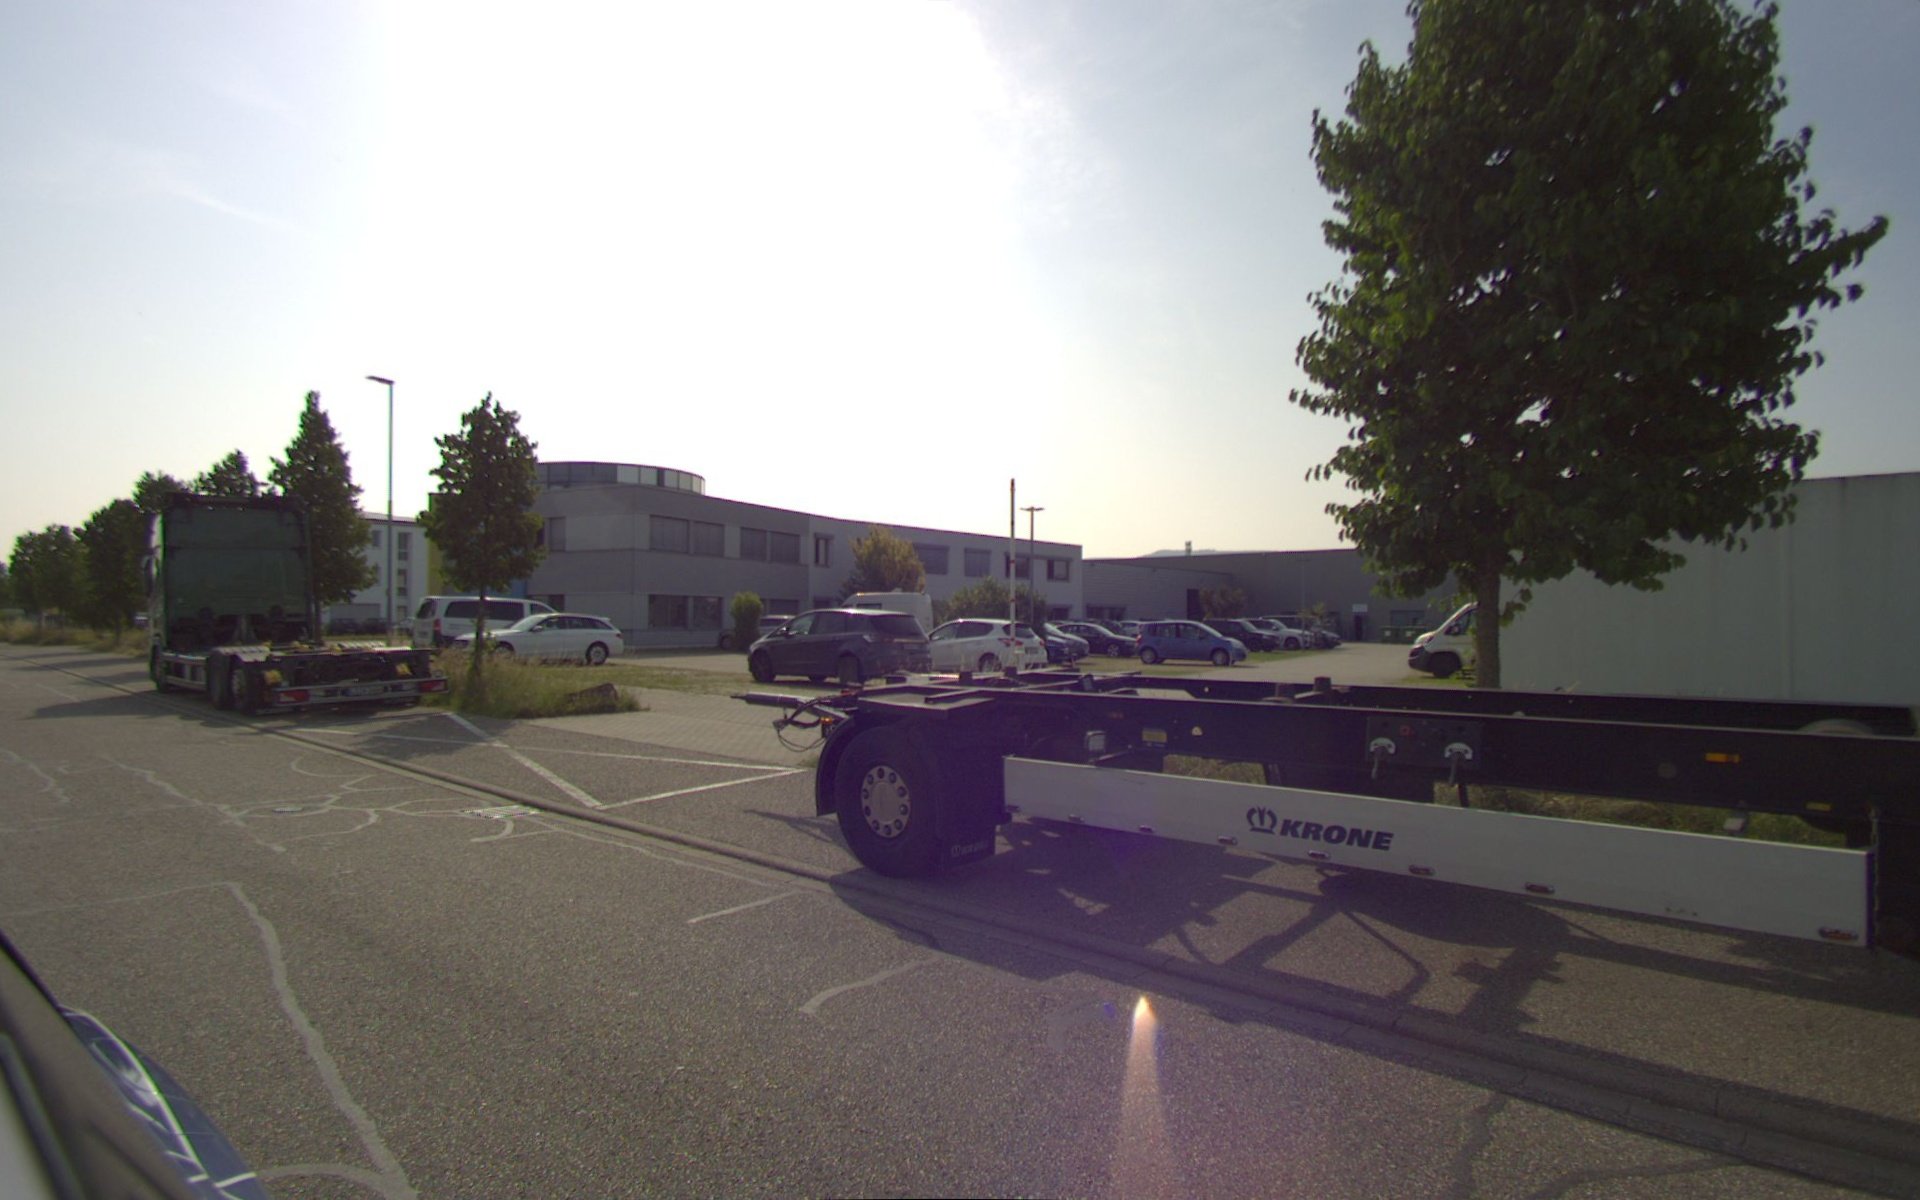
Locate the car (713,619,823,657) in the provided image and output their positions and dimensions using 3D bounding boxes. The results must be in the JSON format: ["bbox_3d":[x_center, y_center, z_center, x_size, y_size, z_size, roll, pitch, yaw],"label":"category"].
[{"bbox_3d":[-8.039,1.554,42.248,4.500,1.492,1.565,0,-1,26],"label":"car"}]

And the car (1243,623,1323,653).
[{"bbox_3d":[18.963,2.200,59.545,1.820,1.625,4.154,2,-2,-45],"label":"car"}]

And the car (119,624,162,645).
[{"bbox_3d":[-55.914,2.326,68.995,3.918,1.420,1.735,-2,-2,43],"label":"car"}]

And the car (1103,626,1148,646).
[{"bbox_3d":[10.996,2.385,67.264,2.706,1.240,1.078,0,-2,33],"label":"car"}]

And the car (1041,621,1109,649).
[{"bbox_3d":[7.338,2.207,64.632,3.997,1.702,1.778,-1,-2,40],"label":"car"}]

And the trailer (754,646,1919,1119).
[{"bbox_3d":[2.004,0.919,5.040,7.155,1.242,2.107,-2,-1,42],"label":"trailer"}]

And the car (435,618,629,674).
[{"bbox_3d":[-12.005,1.249,28.653,1.998,1.442,4.680,-1,-2,39],"label":"car"}]

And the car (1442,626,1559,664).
[{"bbox_3d":[22.085,1.833,41.430,4.136,1.492,1.563,-1,-2,31],"label":"car"}]

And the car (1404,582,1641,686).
[{"bbox_3d":[15.092,0.862,27.412,5.440,2.566,2.036,0,-1,31],"label":"car"}]

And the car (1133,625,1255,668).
[{"bbox_3d":[8.436,1.644,36.451,3.978,1.453,1.885,0,-1,26],"label":"car"}]

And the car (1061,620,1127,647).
[{"bbox_3d":[8.740,2.191,66.261,3.997,1.702,1.778,-1,-2,40],"label":"car"}]

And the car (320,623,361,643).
[{"bbox_3d":[-47.645,2.507,77.808,3.918,1.479,1.735,-2,-2,43],"label":"car"}]

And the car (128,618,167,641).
[{"bbox_3d":[-68.484,2.490,85.286,4.695,1.852,1.971,-2,-2,44],"label":"car"}]

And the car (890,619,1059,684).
[{"bbox_3d":[0.307,1.265,25.773,4.210,1.527,1.688,-1,-3,40],"label":"car"}]

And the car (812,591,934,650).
[{"bbox_3d":[-4.198,0.974,48.548,5.719,2.714,1.696,0,-1,25],"label":"car"}]

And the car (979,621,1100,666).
[{"bbox_3d":[2.843,1.554,36.850,4.210,1.527,1.688,-1,-3,40],"label":"car"}]

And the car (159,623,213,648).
[{"bbox_3d":[-46.656,2.101,60.971,3.915,1.460,1.767,-1,-2,40],"label":"car"}]

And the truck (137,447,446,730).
[{"bbox_3d":[-12.428,-0.144,18.243,9.803,3.911,2.428,0,0,43],"label":"truck"}]

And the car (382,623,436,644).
[{"bbox_3d":[-38.427,2.314,70.524,4.377,1.383,1.715,-1,-2,38],"label":"car"}]

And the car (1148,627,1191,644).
[{"bbox_3d":[14.708,2.483,71.087,2.706,1.150,1.078,0,-2,33],"label":"car"}]

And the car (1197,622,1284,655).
[{"bbox_3d":[14.988,2.039,54.207,1.820,1.625,4.154,2,-2,-45],"label":"car"}]

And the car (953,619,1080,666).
[{"bbox_3d":[1.916,1.424,34.812,4.210,1.527,1.688,-1,-3,40],"label":"car"}]

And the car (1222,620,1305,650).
[{"bbox_3d":[17.268,1.969,57.664,1.820,1.625,4.154,2,-2,-45],"label":"car"}]

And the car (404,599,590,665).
[{"bbox_3d":[-13.888,0.964,30.553,2.102,1.850,4.654,-1,-2,42],"label":"car"}]

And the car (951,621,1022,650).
[{"bbox_3d":[1.418,1.910,55.534,3.725,1.475,1.558,0,-1,40],"label":"car"}]

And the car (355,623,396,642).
[{"bbox_3d":[-45.858,2.561,79.364,3.918,1.479,1.735,-2,-2,43],"label":"car"}]

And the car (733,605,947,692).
[{"bbox_3d":[-2.695,1.023,22.040,4.695,1.699,1.973,-1,-3,40],"label":"car"}]

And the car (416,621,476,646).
[{"bbox_3d":[-31.845,2.078,62.603,4.780,1.472,1.697,-2,-2,42],"label":"car"}]
